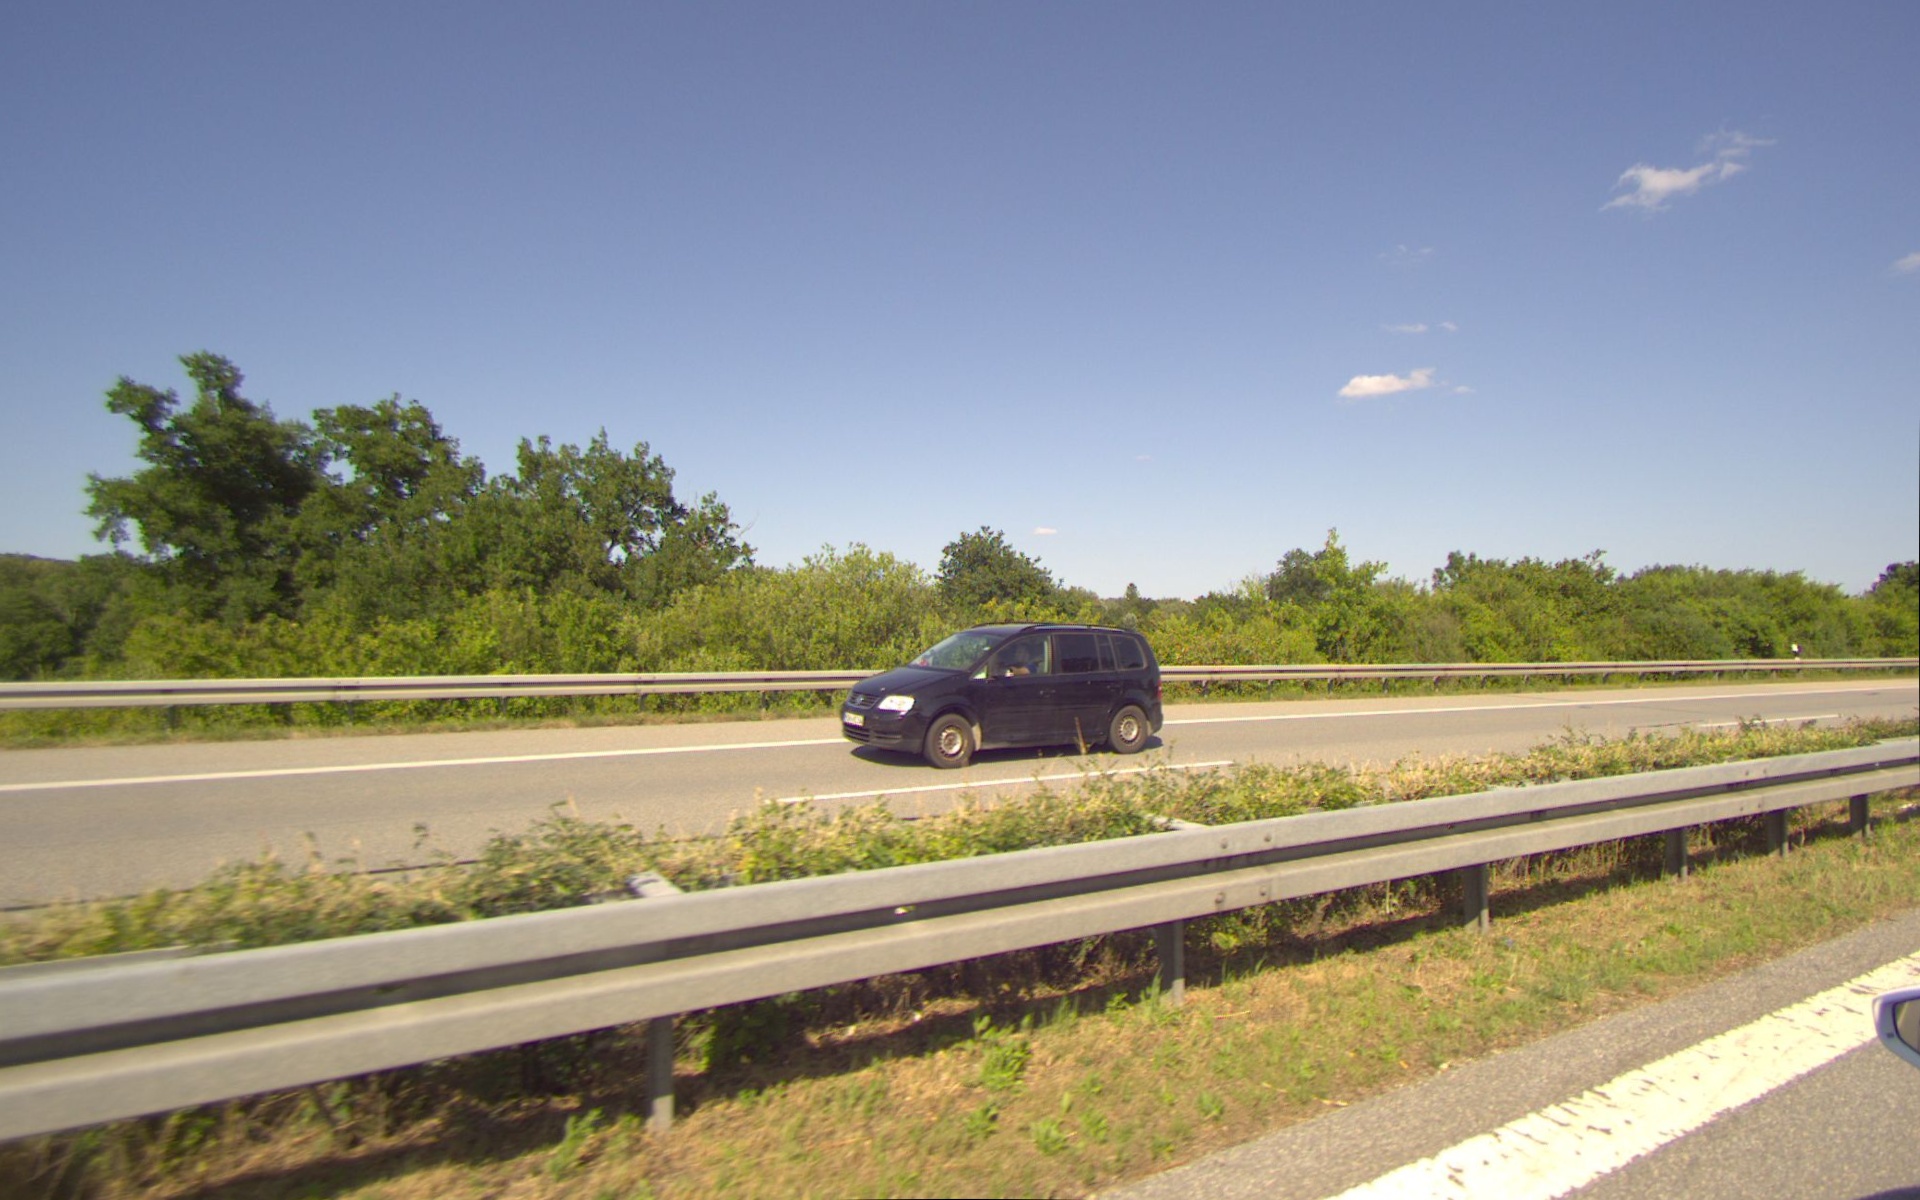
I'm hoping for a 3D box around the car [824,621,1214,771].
[{"bbox_3d":[0.857,1.105,12.958,4.814,1.621,1.949,1,-2,-32],"label":"car"}]
